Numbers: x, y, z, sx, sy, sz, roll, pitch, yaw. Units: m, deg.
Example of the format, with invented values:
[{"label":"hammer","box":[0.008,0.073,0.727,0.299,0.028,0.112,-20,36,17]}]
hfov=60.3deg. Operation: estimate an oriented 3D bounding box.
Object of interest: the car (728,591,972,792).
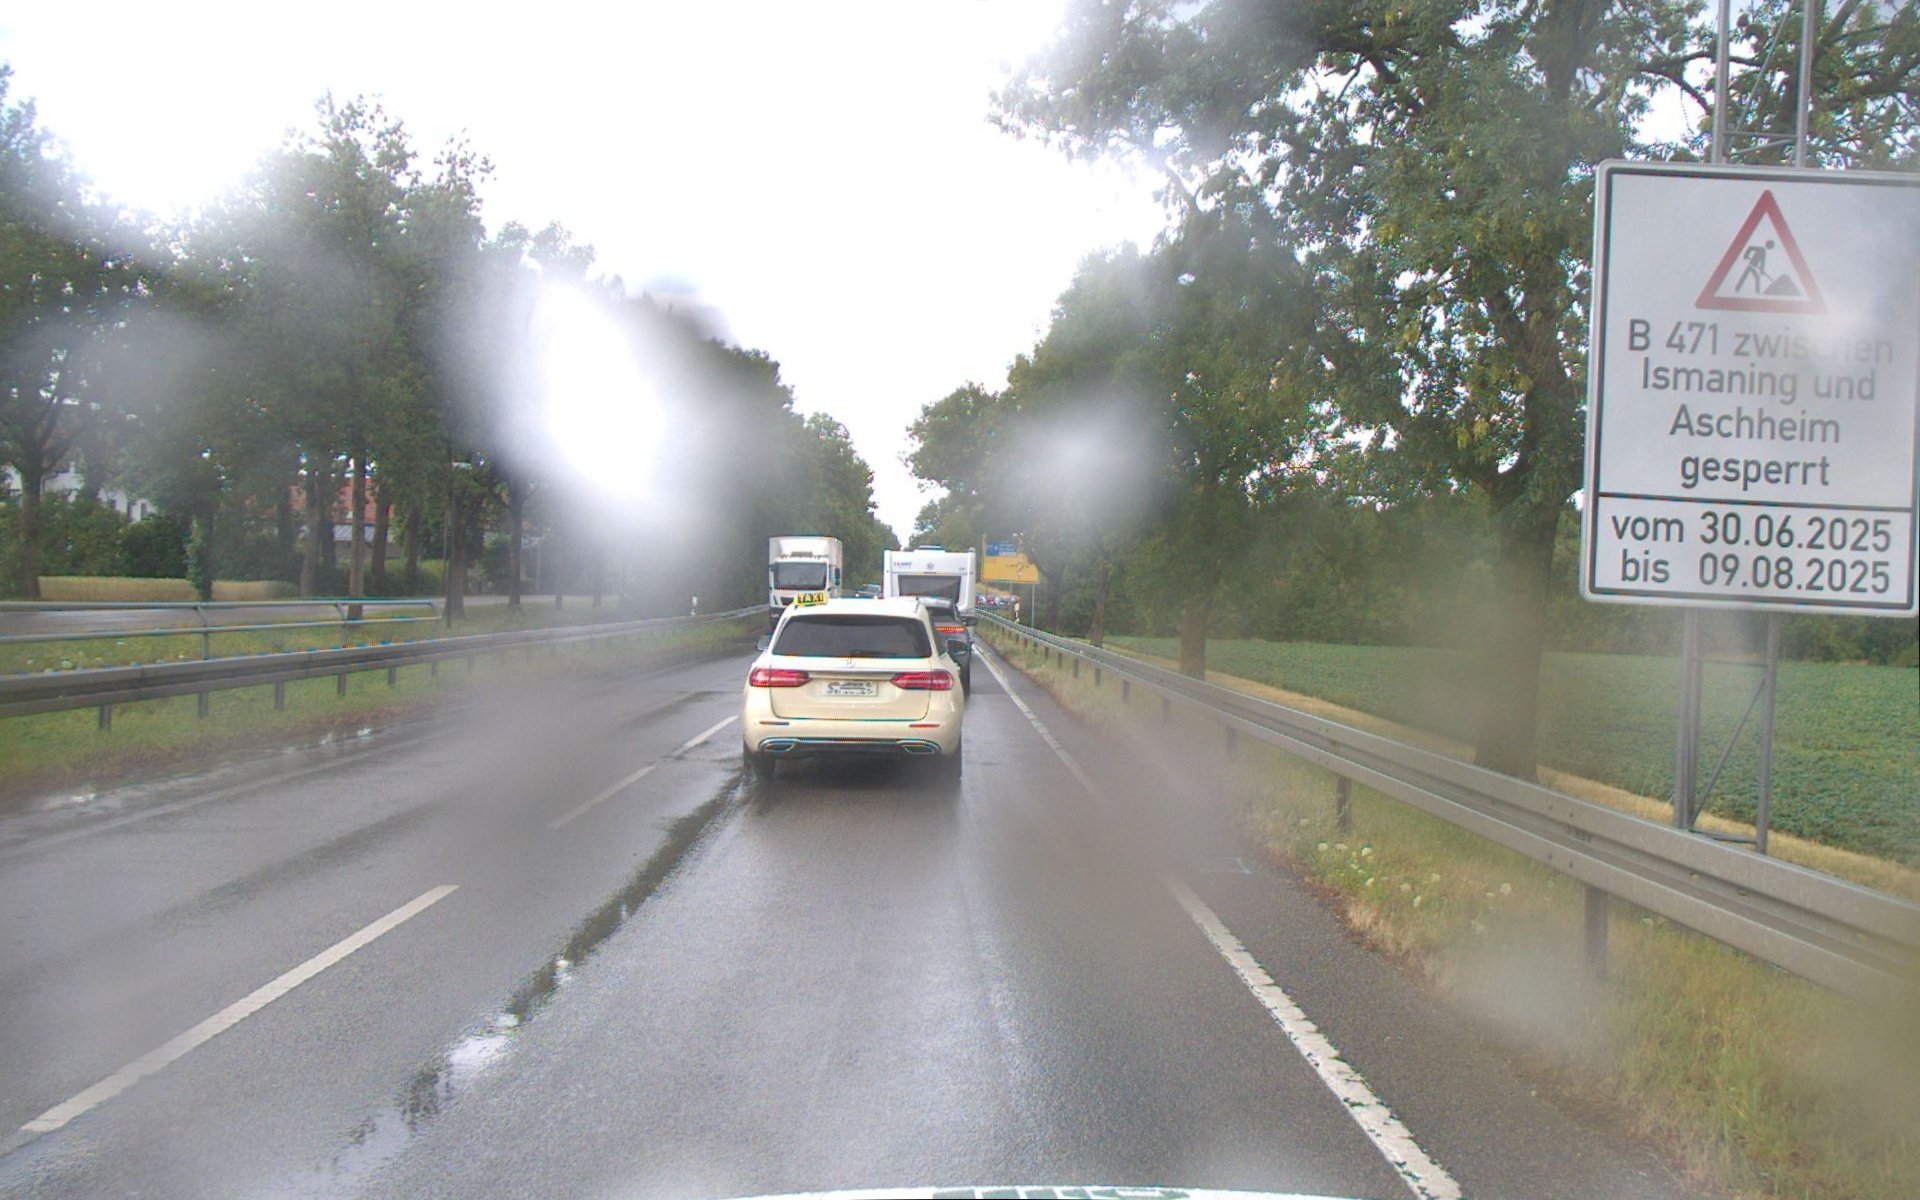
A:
[{"label":"car","box":[-0.825,0.687,14.495,1.826,1.502,4.000,1,0,0]}]

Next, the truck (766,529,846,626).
[{"label":"truck","box":[-5.925,-0.840,64.863,2.524,3.512,9.552,0,0,-2]}]

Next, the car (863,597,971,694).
[{"label":"car","box":[-0.652,0.686,27.197,1.630,1.456,4.000,1,0,0]}]

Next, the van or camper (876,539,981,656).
[{"label":"van or camper","box":[-0.742,-0.068,42.060,2.438,2.732,5.700,1,0,0]}]

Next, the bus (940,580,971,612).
[{"label":"bus","box":[-0.343,-0.258,108.603,1.953,2.049,3.999,0,0,-1]}]

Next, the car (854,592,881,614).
[{"label":"car","box":[-6.395,0.225,114.622,1.679,1.476,4.110,1,0,-2]}]

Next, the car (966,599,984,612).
[{"label":"car","box":[1.269,0.481,141.388,1.520,1.138,4.000,1,0,0]}]
